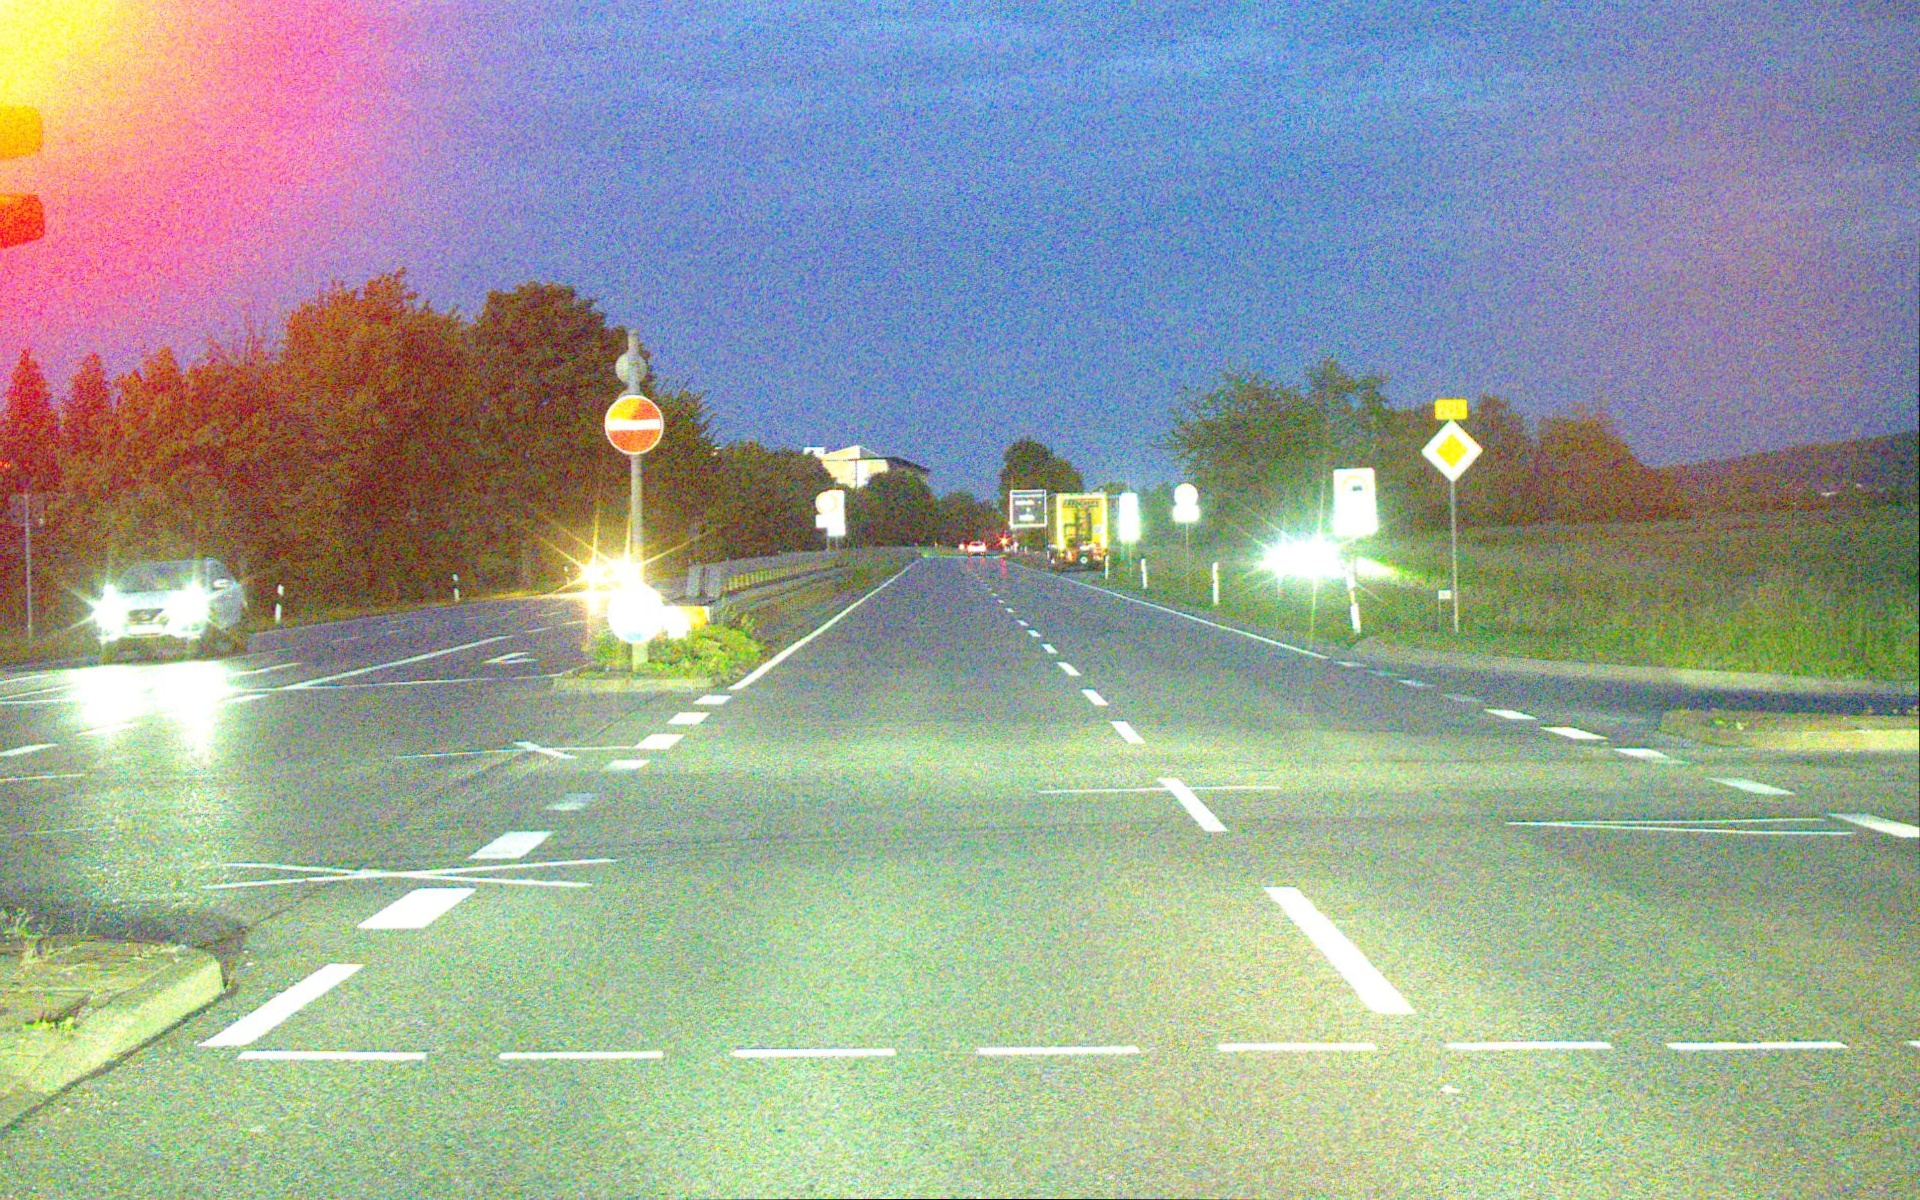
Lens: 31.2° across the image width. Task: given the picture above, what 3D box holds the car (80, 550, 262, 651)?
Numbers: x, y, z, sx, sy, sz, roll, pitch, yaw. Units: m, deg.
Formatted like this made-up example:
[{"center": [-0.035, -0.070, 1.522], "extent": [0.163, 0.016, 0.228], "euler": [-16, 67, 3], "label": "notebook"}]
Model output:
[{"center": [-12.792, -0.021, 55.966], "extent": [1.993, 1.514, 4.298], "euler": [-1, 1, -1], "label": "car"}]

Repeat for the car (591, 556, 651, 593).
[{"center": [-13.266, -1.003, 134.753], "extent": [1.993, 1.382, 4.000], "euler": [-1, 1, -1], "label": "car"}]
